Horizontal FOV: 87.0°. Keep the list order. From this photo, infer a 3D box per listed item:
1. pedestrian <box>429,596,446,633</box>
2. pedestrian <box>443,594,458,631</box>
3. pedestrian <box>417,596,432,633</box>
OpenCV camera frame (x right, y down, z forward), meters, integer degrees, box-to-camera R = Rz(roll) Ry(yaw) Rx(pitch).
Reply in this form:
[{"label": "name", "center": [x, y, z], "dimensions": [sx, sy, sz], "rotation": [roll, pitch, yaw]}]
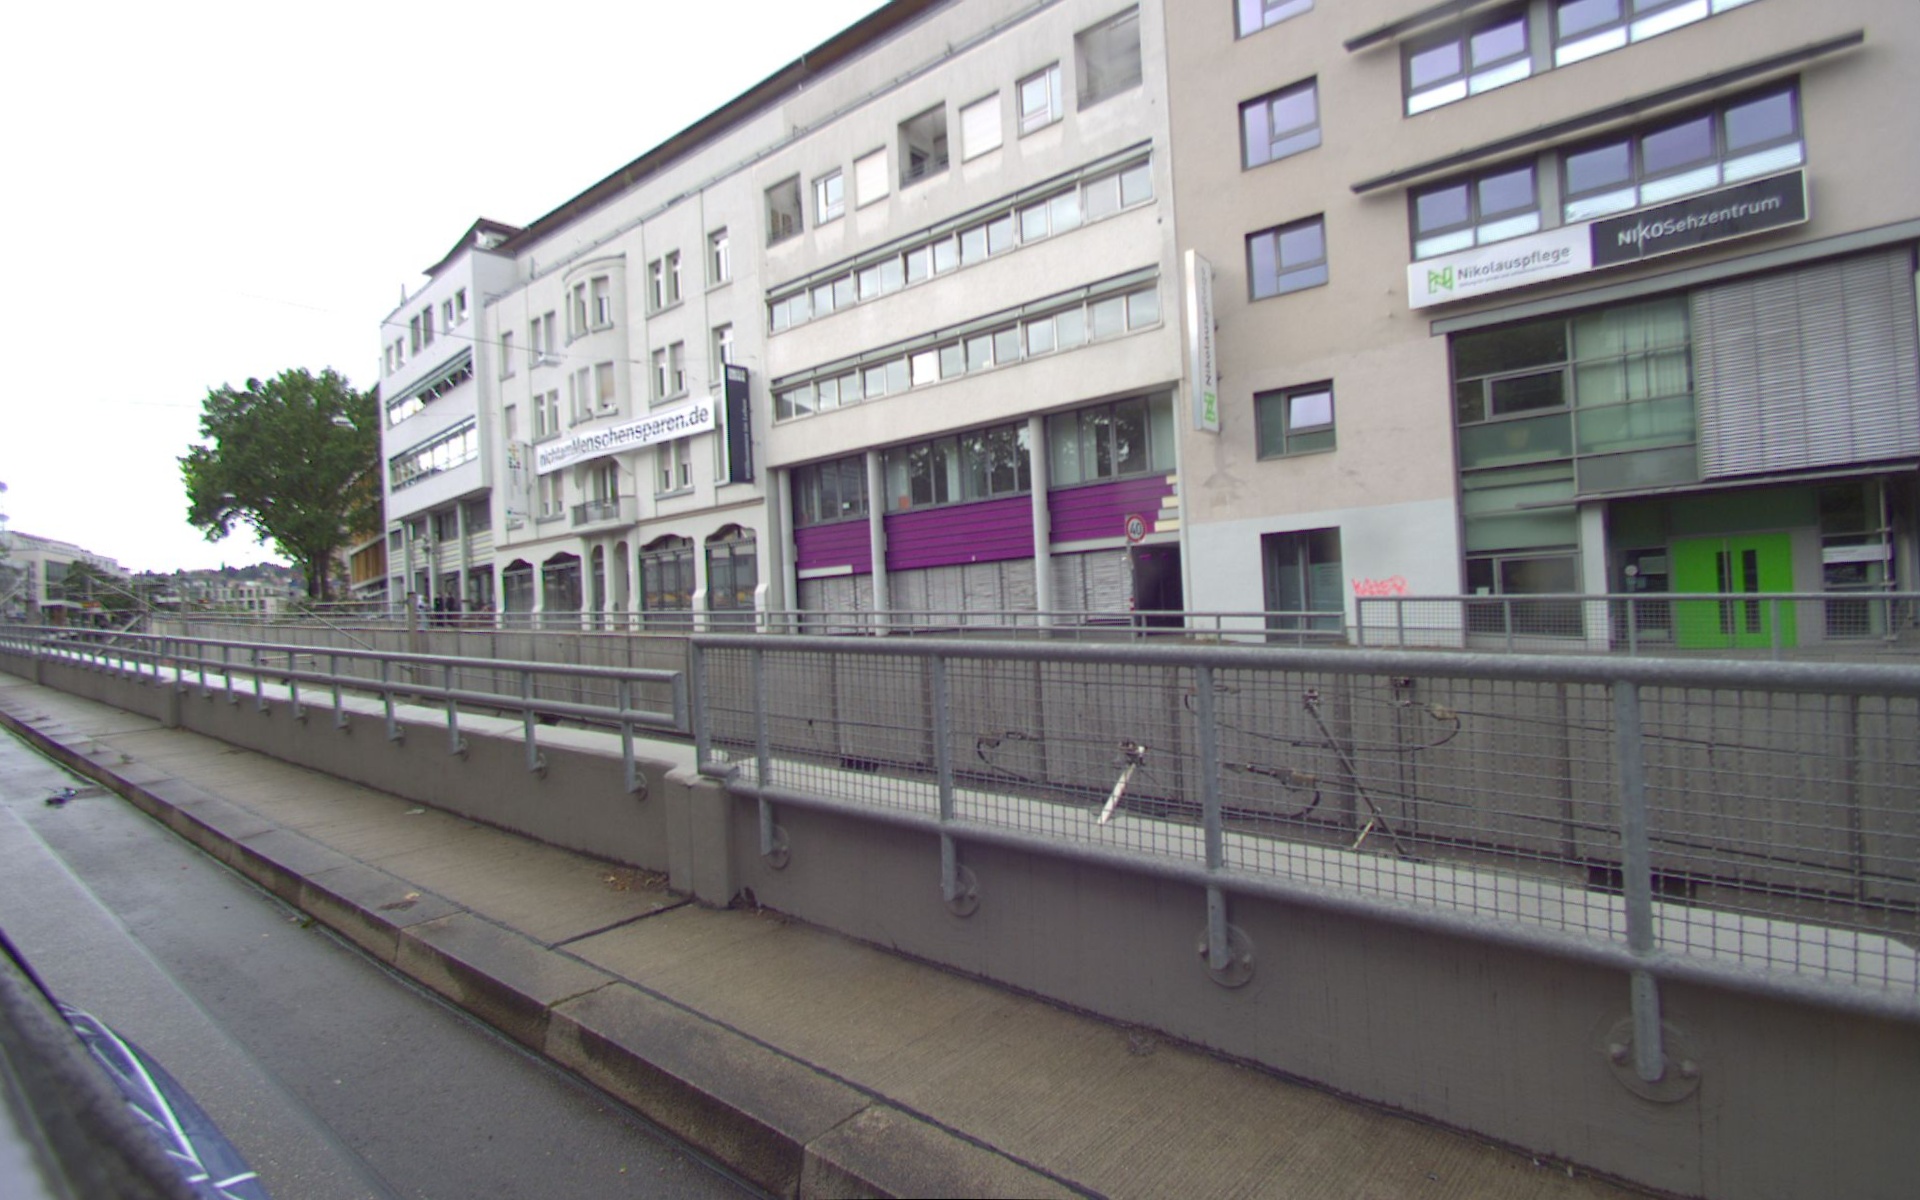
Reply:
[{"label": "pedestrian", "center": [-26.438, 0.724, 51.223], "dimensions": [0.469, 1.816, 0.541], "rotation": [-2, 1, 33]}, {"label": "pedestrian", "center": [-25.424, 0.625, 50.475], "dimensions": [0.547, 1.816, 0.463], "rotation": [-2, 1, 44]}, {"label": "pedestrian", "center": [-26.728, 0.721, 50.524], "dimensions": [0.463, 1.816, 0.548], "rotation": [-3, 1, -42]}]
